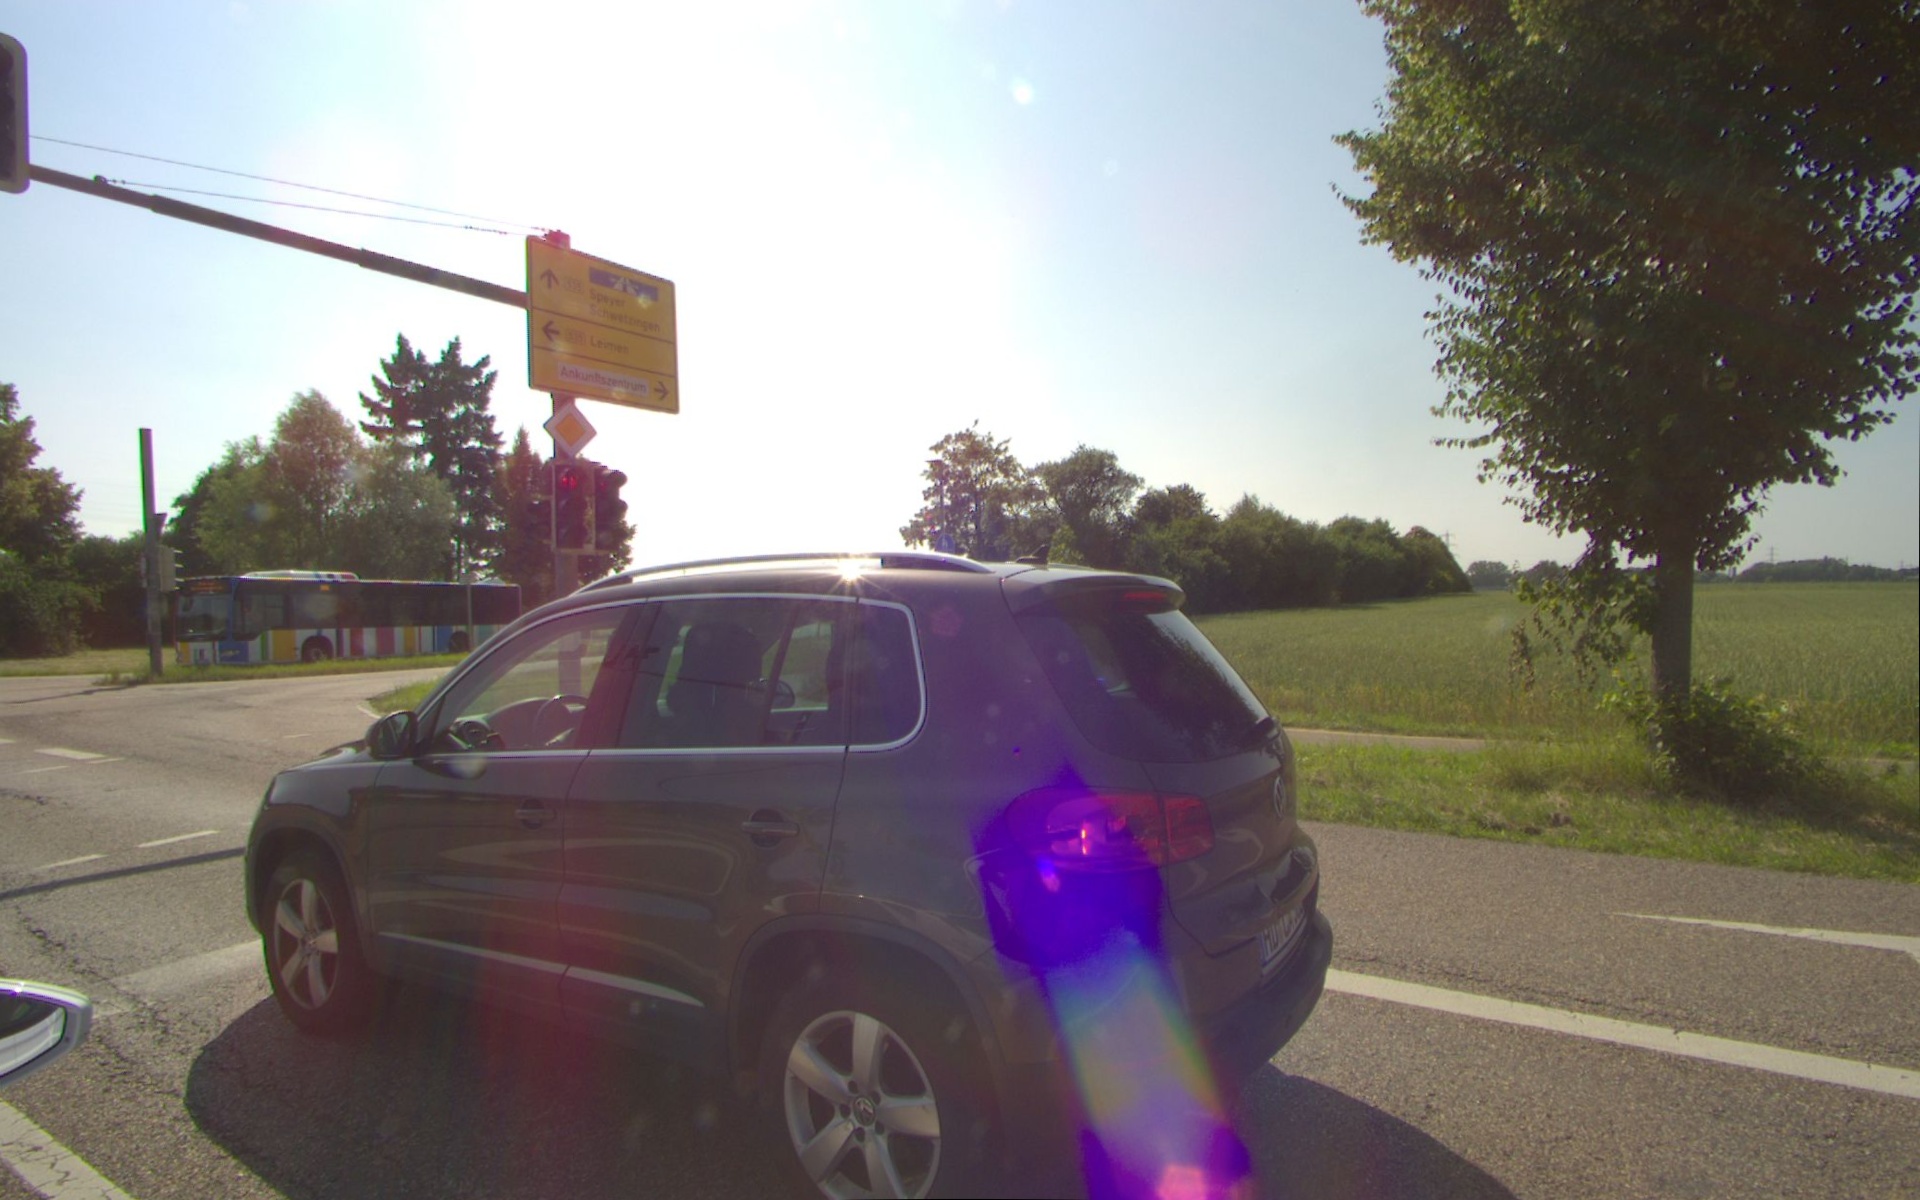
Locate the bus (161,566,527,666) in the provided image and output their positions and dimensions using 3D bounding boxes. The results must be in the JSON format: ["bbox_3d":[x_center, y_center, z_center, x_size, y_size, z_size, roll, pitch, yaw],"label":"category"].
[{"bbox_3d":[-20.656,0.420,35.168,2.889,2.916,11.955,-1,0,17],"label":"bus"}]

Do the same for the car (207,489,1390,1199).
[{"bbox_3d":[-0.774,0.694,3.619,4.086,1.677,1.753,-1,-2,32],"label":"car"}]
